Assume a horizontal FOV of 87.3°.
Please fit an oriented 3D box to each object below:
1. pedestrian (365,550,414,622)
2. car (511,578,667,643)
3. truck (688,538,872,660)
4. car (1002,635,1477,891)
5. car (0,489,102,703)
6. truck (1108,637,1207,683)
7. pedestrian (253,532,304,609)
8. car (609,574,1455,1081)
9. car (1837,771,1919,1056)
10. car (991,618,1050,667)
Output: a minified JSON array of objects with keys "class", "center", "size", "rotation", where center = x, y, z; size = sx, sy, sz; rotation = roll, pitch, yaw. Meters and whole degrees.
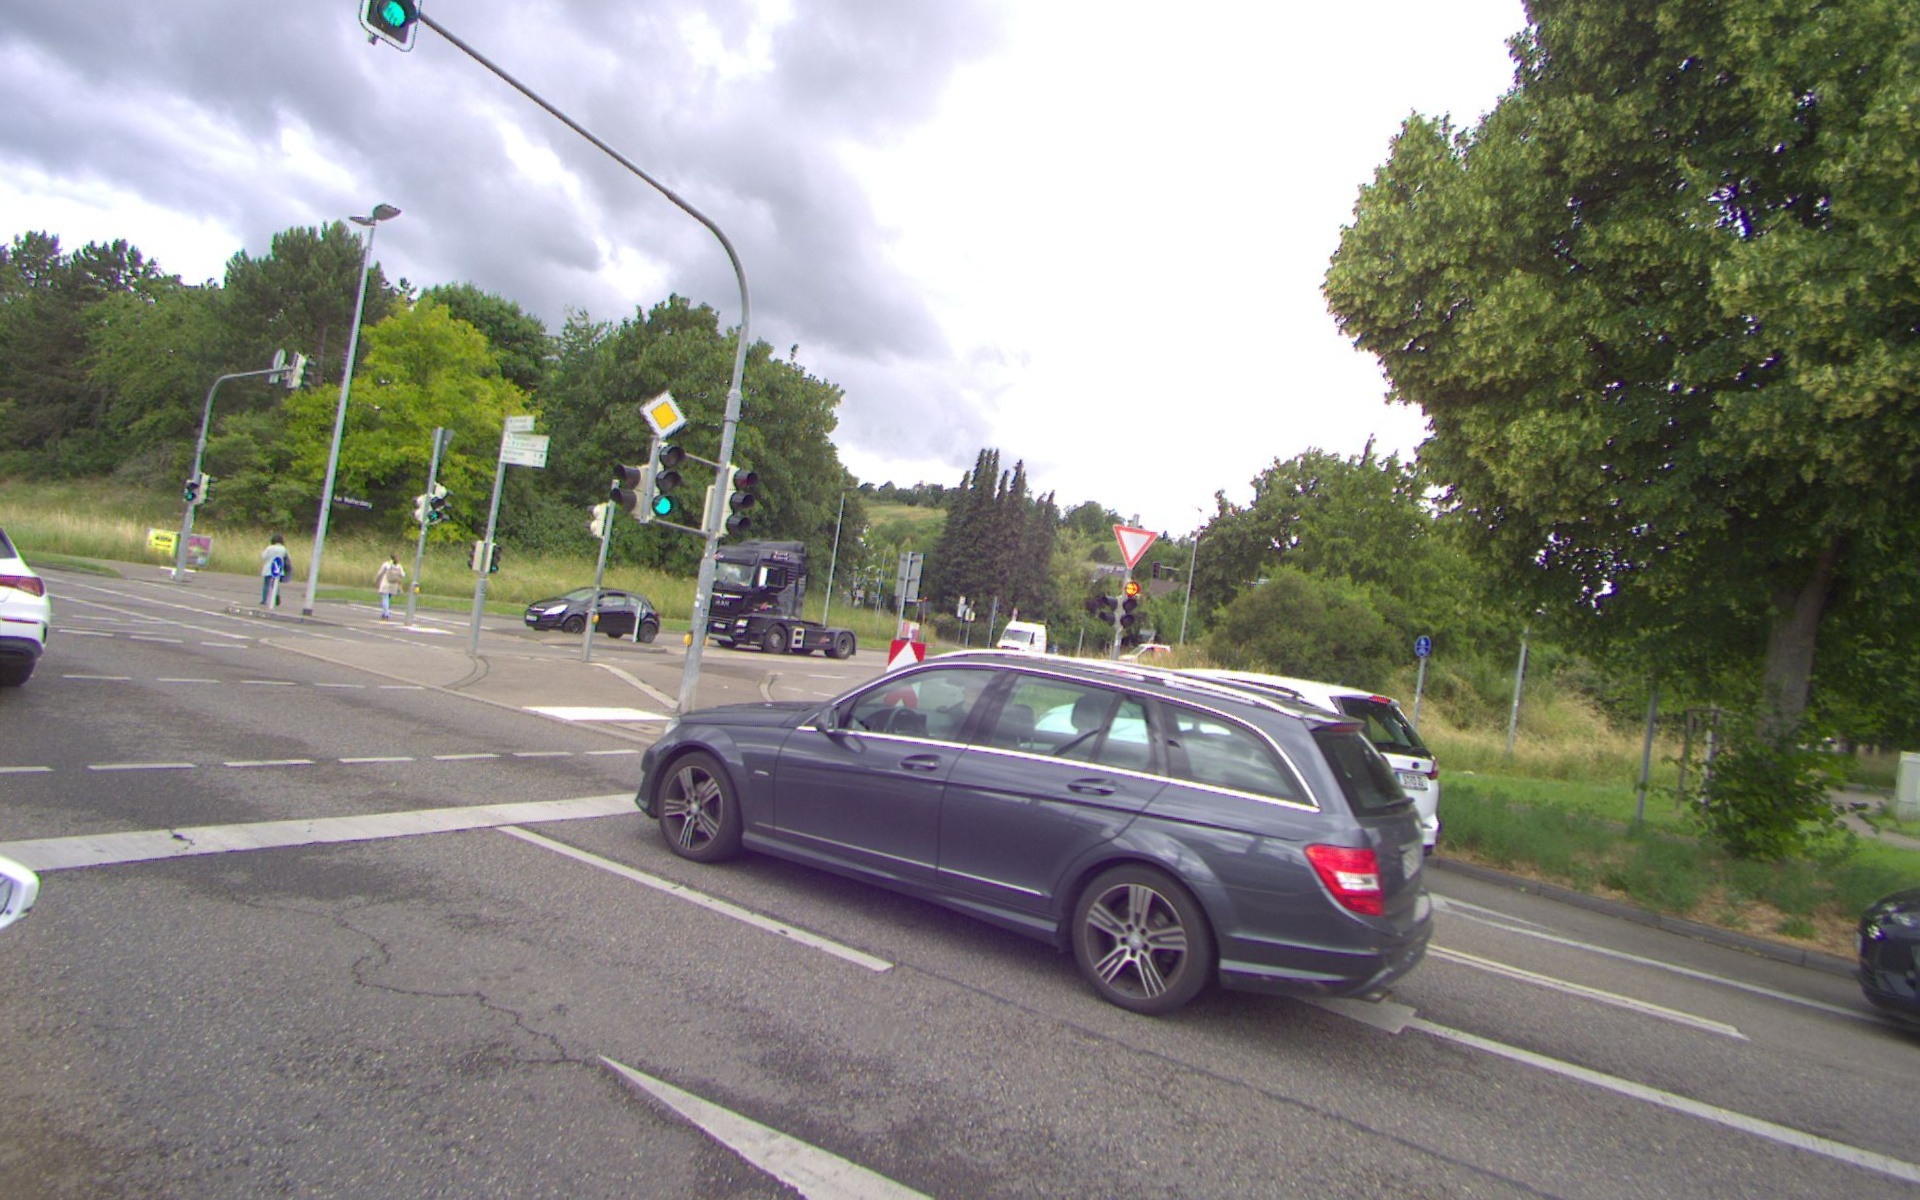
[{"class":"pedestrian","center":[-13.688,-0.336,24.134],"size":[0.703,1.630,0.644],"rotation":[6,-1,37]},{"class":"car","center":[-10.585,0.330,28.943],"size":[1.669,1.353,3.882],"rotation":[6,-3,34]},{"class":"truck","center":[-6.181,0.068,35.379],"size":[2.648,3.527,6.004],"rotation":[6,-1,34]},{"class":"car","center":[2.580,1.484,10.257],"size":[1.752,1.673,4.325],"rotation":[10,-3,-37]},{"class":"car","center":[-8.983,-0.266,8.034],"size":[4.455,1.523,1.848],"rotation":[6,-2,32]},{"class":"truck","center":[13.130,4.018,67.095],"size":[5.940,2.256,2.160],"rotation":[8,-2,-9]},{"class":"pedestrian","center":[-16.005,-0.688,23.619],"size":[0.703,1.681,0.644],"rotation":[6,-1,39]},{"class":"car","center":[0.247,0.913,5.657],"size":[4.283,1.502,1.750],"rotation":[8,-1,32]},{"class":"car","center":[7.147,2.011,5.357],"size":[3.511,1.524,1.603],"rotation":[6,-2,38]},{"class":"car","center":[3.873,2.720,63.060],"size":[1.963,2.660,5.830],"rotation":[7,-2,19]}]
